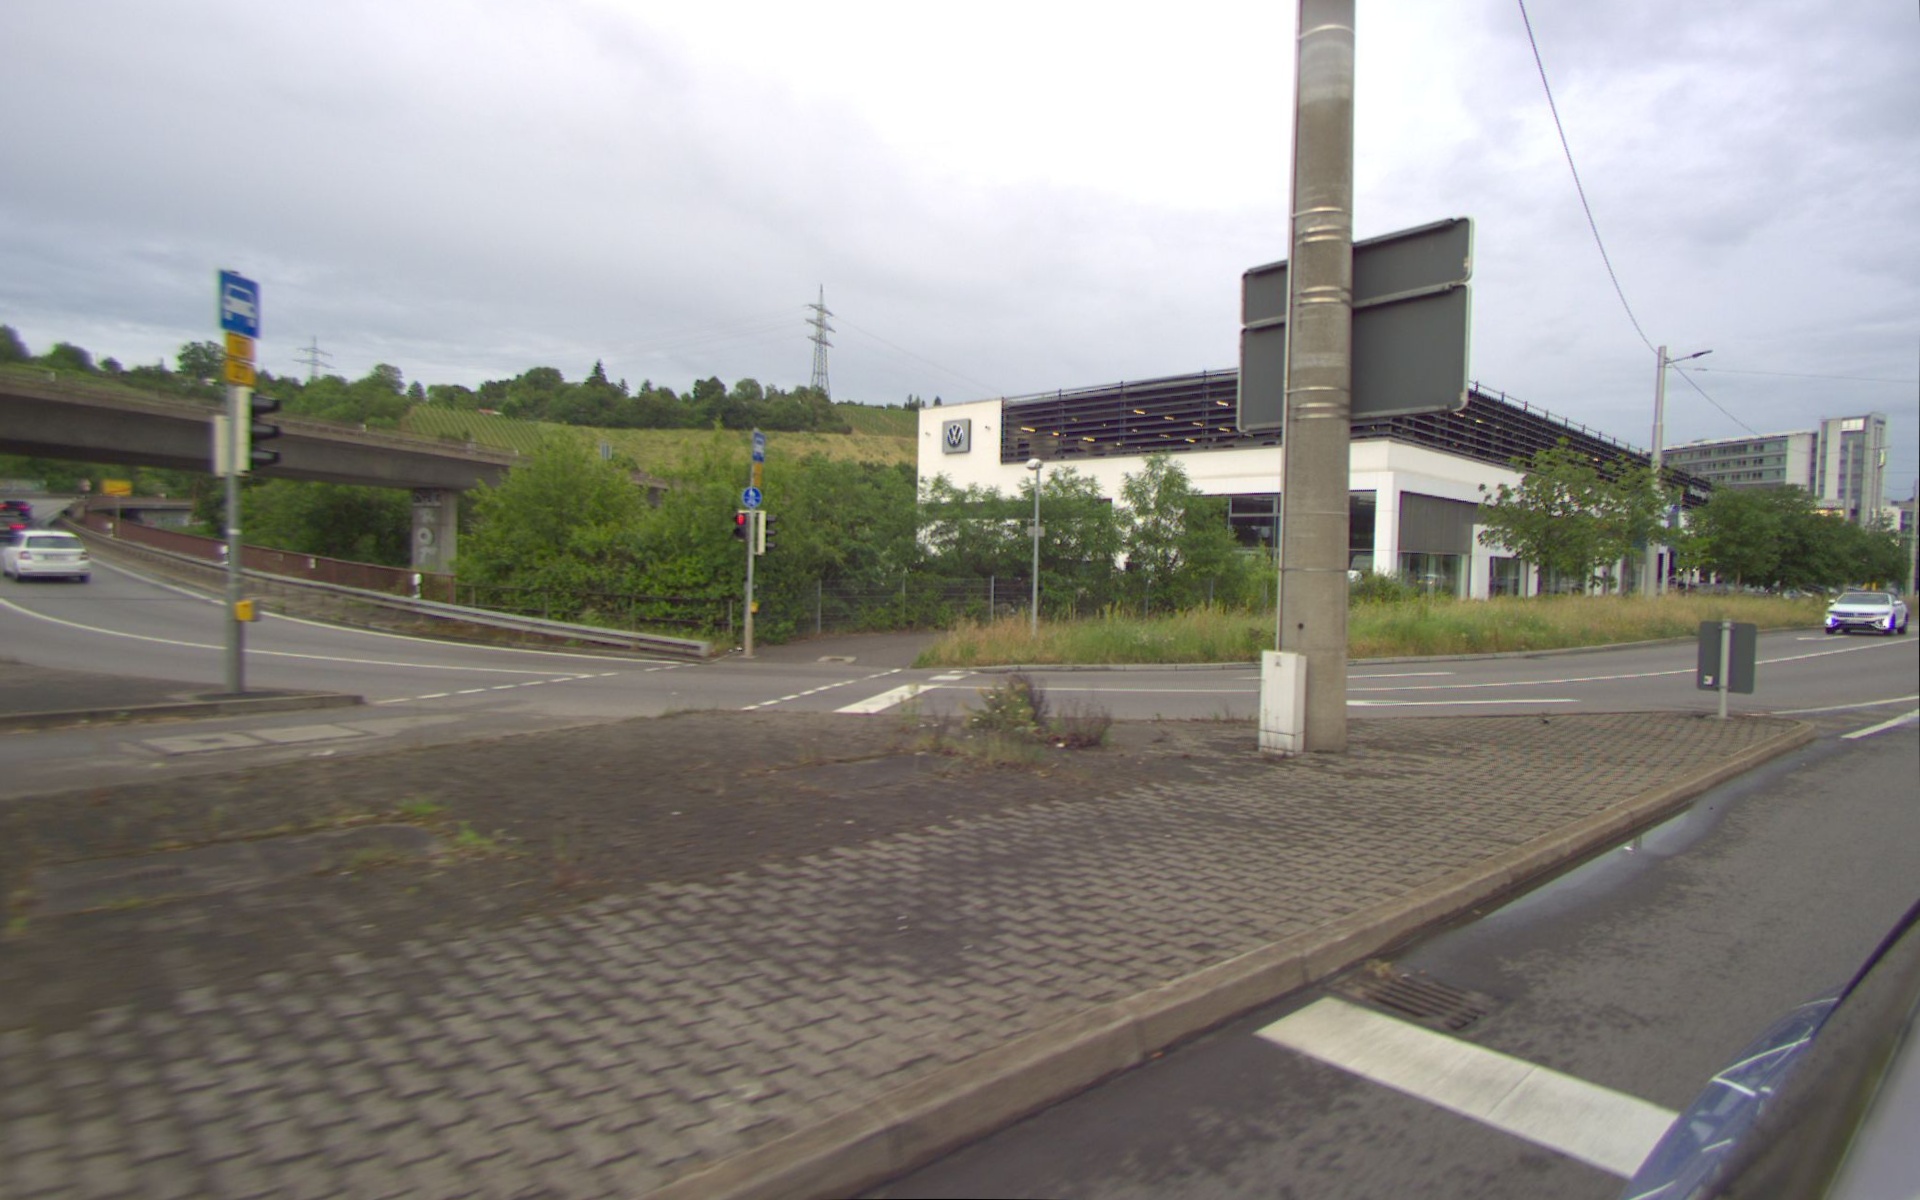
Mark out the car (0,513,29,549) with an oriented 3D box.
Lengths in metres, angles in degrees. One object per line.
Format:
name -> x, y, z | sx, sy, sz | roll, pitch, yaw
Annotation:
car -> -43.885, -3.133, 46.287 | 1.879, 1.554, 3.992 | 0, 2, -43

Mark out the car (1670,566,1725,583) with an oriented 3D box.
car -> 71.652, -2.472, 98.342 | 1.755, 1.527, 3.993 | -1, 1, -41

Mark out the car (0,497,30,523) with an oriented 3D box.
car -> -71.281, -6.775, 76.202 | 1.841, 1.736, 3.992 | 0, 2, -43

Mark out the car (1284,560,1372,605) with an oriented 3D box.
car -> 17.828, -0.861, 48.951 | 5.008, 2.038, 2.045 | -1, 2, -45

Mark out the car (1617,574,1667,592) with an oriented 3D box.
car -> 67.538, -1.694, 100.267 | 1.612, 1.607, 3.820 | -1, 3, -44

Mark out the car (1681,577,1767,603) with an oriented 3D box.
car -> 56.491, -0.790, 74.927 | 4.563, 1.587, 1.844 | 3, 4, 17

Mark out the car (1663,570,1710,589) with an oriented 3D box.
car -> 82.191, -2.301, 114.505 | 1.913, 2.000, 4.031 | -1, 3, -44

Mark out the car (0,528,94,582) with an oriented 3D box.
car -> -27.382, -1.355, 30.169 | 3.653, 1.475, 1.728 | 3, 2, 38

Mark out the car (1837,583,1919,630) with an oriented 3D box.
car -> 32.215, 0.200, 35.460 | 3.772, 1.512, 1.876 | 0, 2, -43
